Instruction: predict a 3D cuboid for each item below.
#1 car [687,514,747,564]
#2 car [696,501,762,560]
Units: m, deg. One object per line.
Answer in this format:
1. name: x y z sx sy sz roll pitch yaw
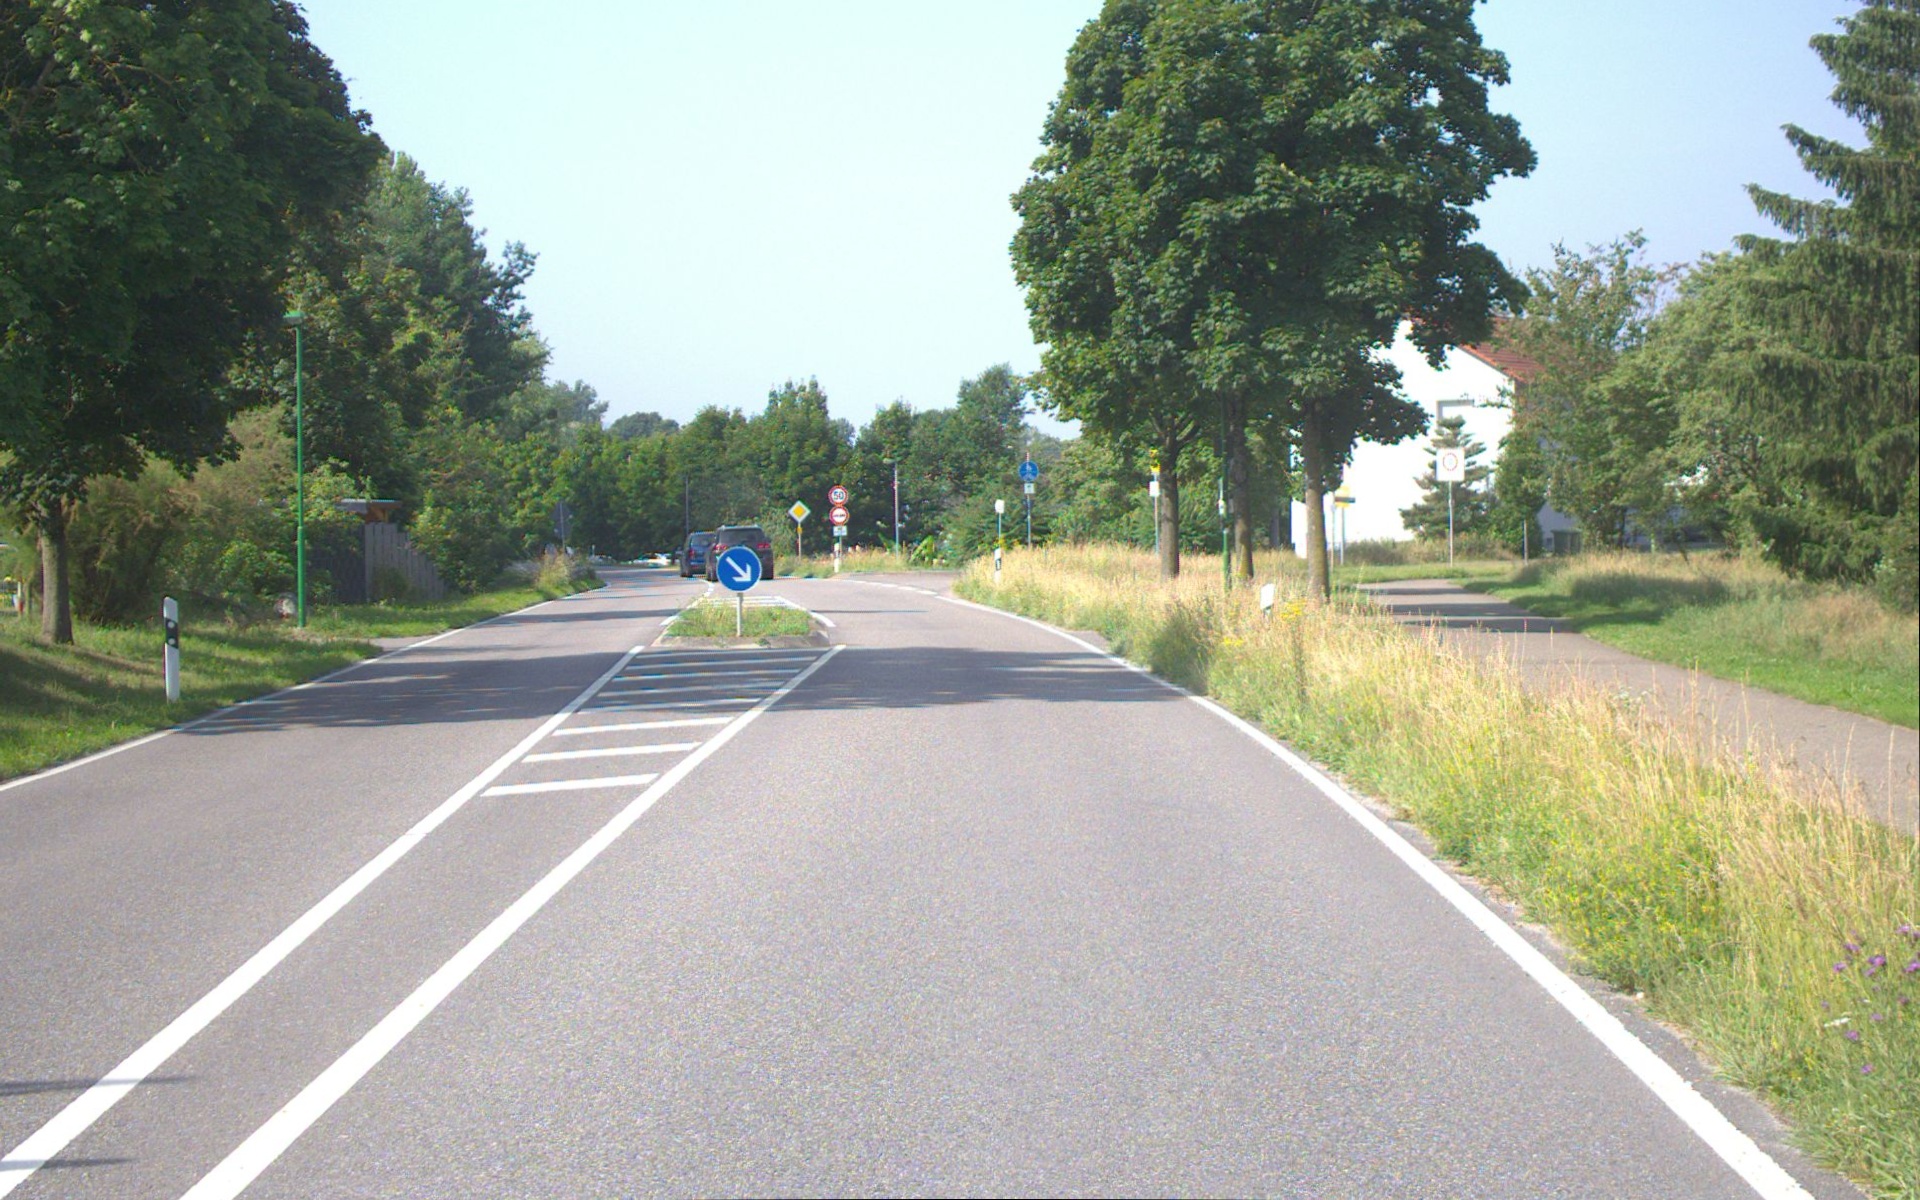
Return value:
1. car: -8.880 -2.243 125.500 2.003 1.765 4.001 0 2 -6
2. car: -7.126 -2.153 105.729 1.925 1.765 4.001 0 2 -5
